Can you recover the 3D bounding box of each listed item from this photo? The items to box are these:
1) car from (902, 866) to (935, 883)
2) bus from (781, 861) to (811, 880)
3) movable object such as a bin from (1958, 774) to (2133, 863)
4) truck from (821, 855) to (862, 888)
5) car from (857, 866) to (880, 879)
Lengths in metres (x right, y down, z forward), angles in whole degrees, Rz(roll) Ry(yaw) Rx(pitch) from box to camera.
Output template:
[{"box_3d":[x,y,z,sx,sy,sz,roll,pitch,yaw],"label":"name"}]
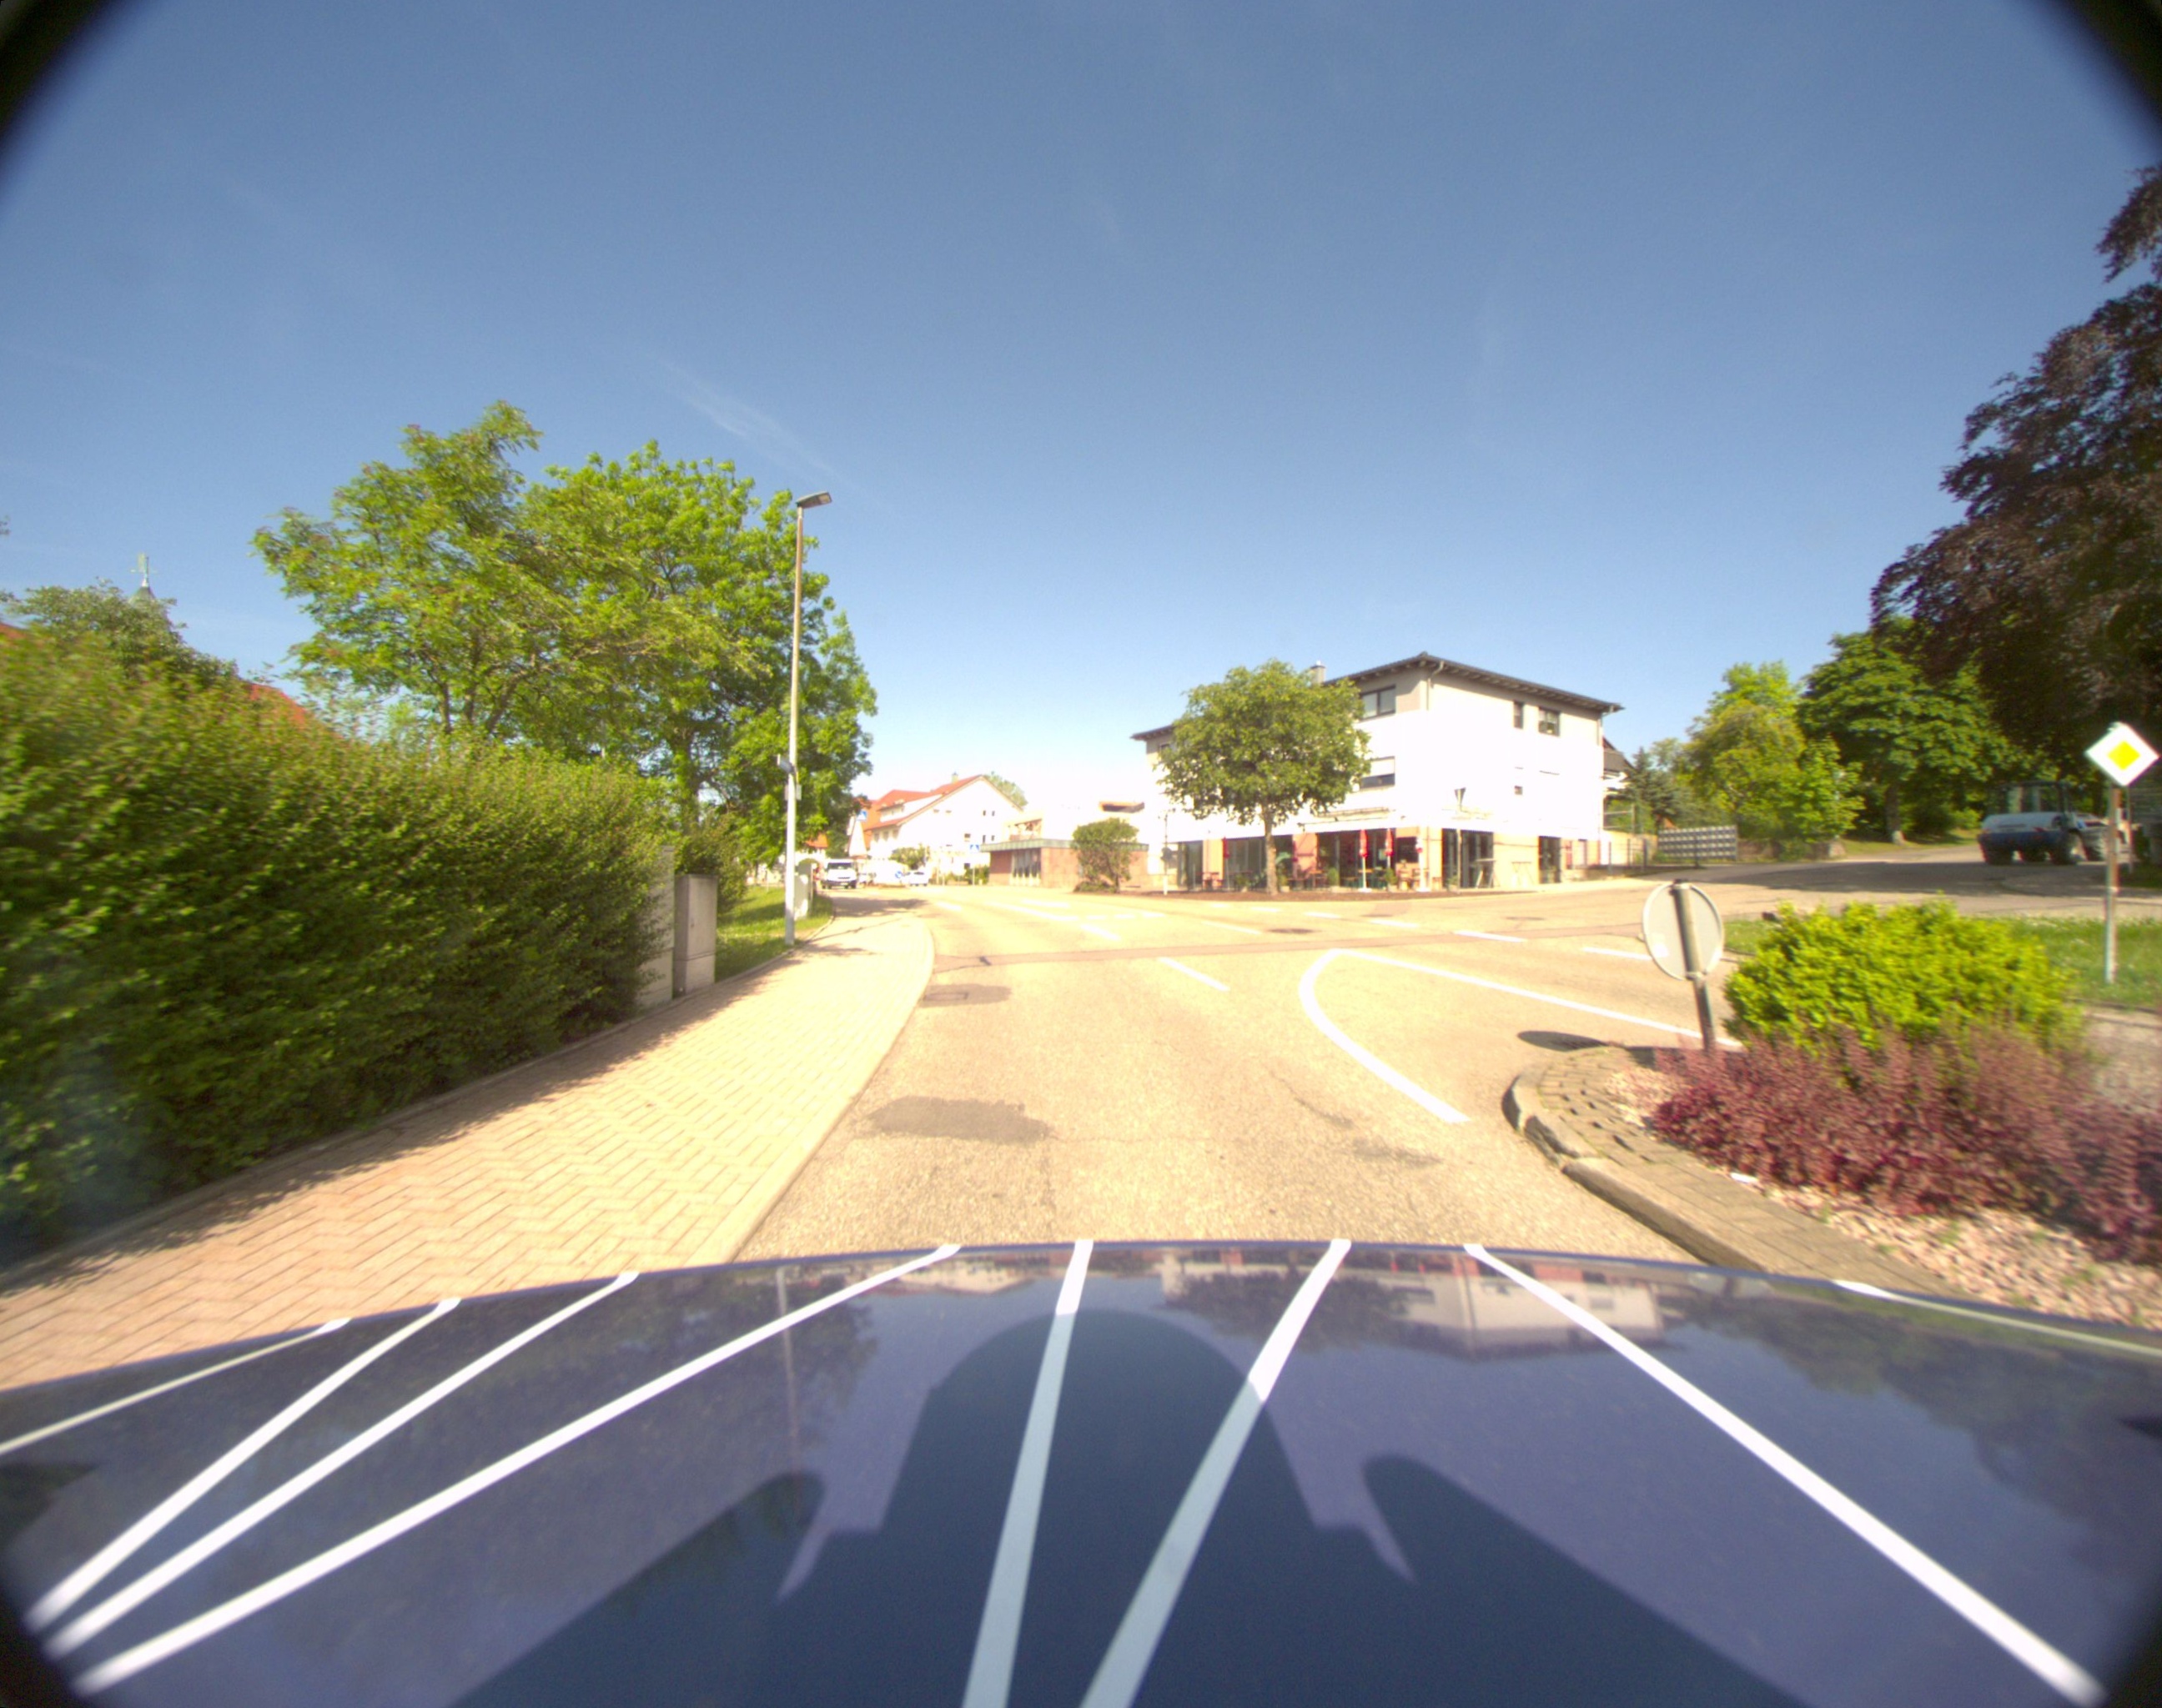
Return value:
[{"box_3d":[-15.223,1.911,70.923,1.779,1.459,3.705,-3,0,-33],"label":"car"},{"box_3d":[-50.168,2.984,133.524,2.721,2.996,15.190,-1,-1,-29],"label":"bus"},{"box_3d":[31.965,-1.165,25.189,5.109,2.753,1.997,-2,1,-19],"label":"movable object such as a bin"},{"box_3d":[-18.423,1.308,58.230,2.003,2.328,6.481,-1,-1,-26],"label":"truck"},{"box_3d":[-24.306,2.136,86.943,1.778,1.425,3.706,-3,0,-27],"label":"car"}]
